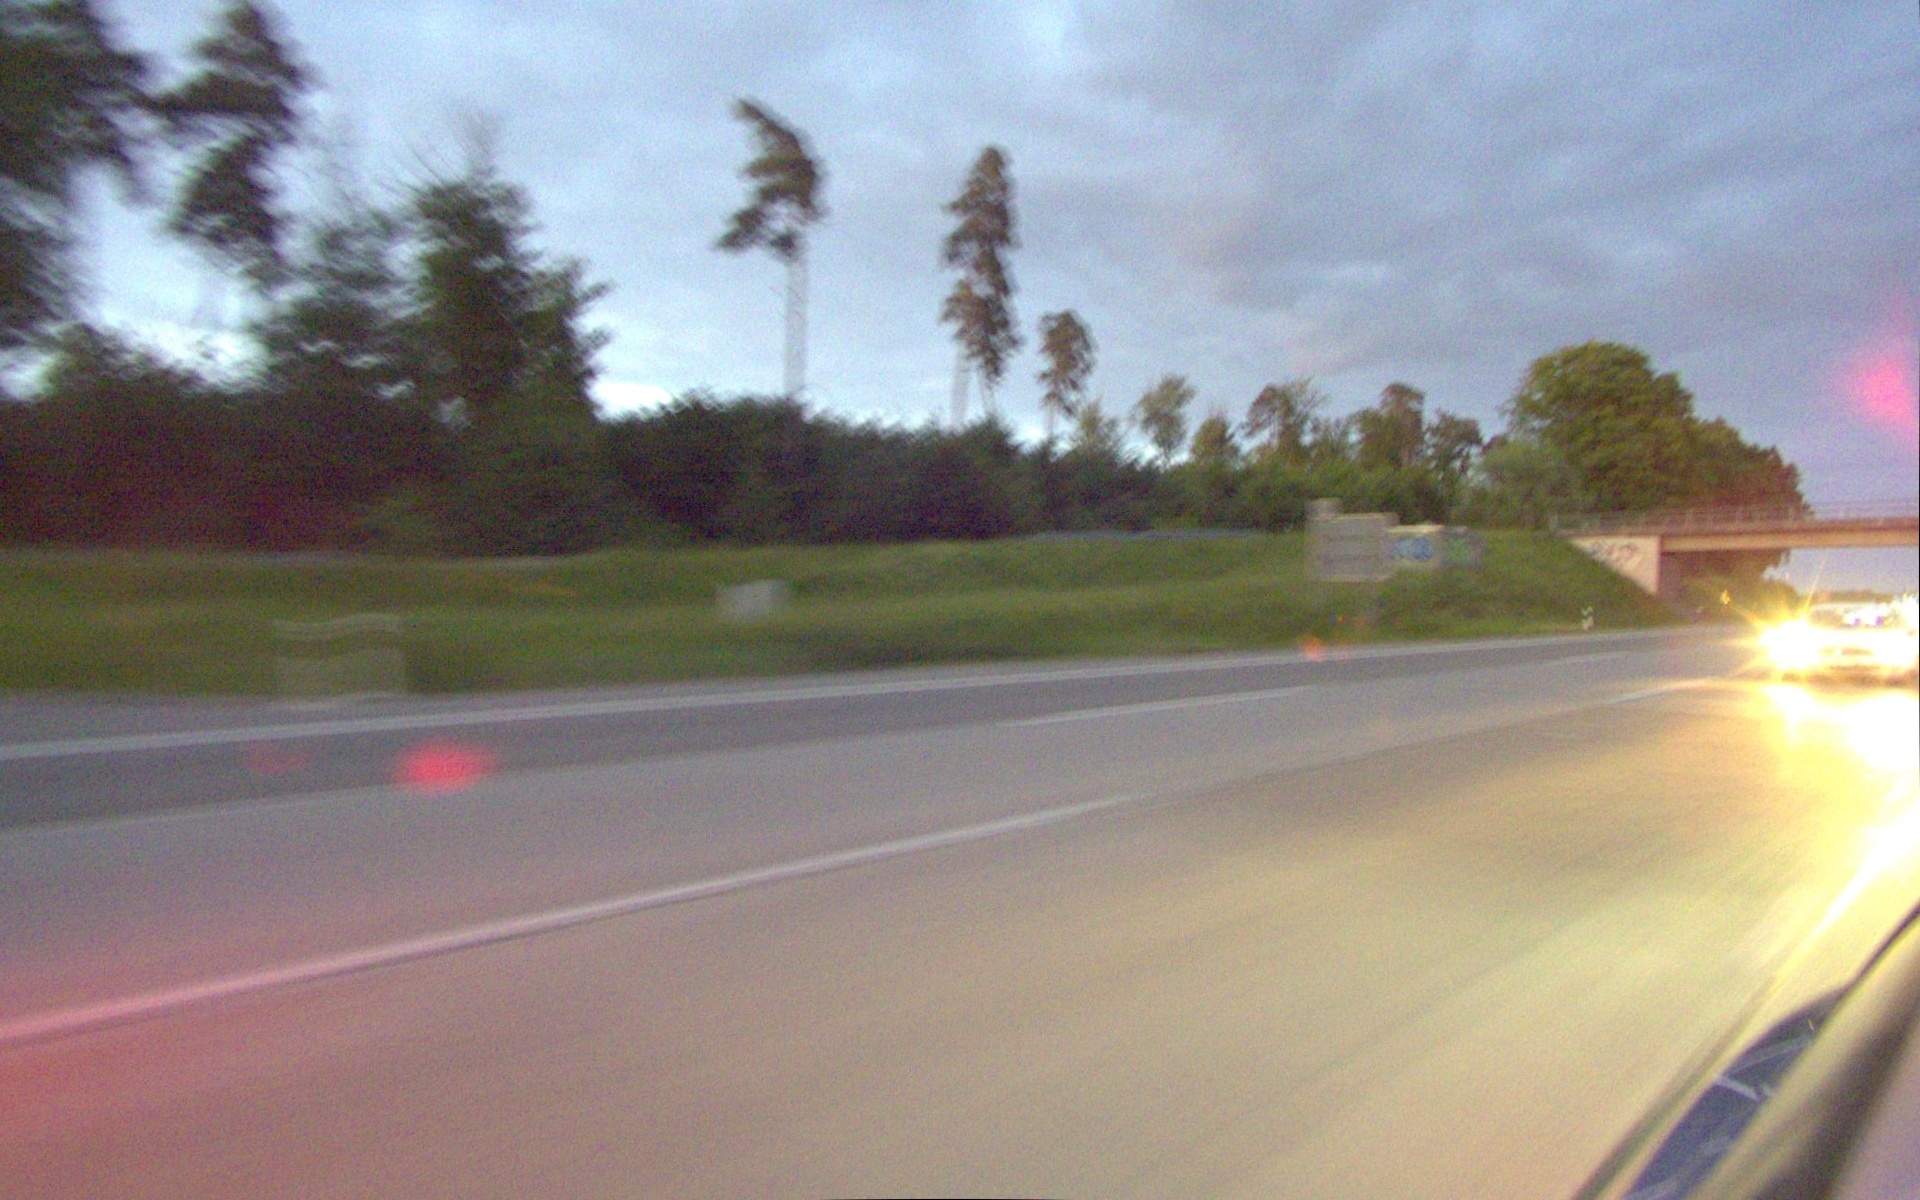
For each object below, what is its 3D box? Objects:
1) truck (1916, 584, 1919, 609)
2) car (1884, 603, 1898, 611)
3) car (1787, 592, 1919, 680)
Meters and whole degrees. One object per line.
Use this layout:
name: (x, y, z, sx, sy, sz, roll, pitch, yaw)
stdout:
truck: (157.603, -0.506, 164.255, 3.135, 4.062, 10.383, 1, 0, 42)
car: (171.999, 1.242, 186.953, 1.814, 1.398, 3.980, 0, 0, 43)
car: (17.741, 0.624, 19.706, 5.044, 1.484, 1.811, 0, 1, -42)
